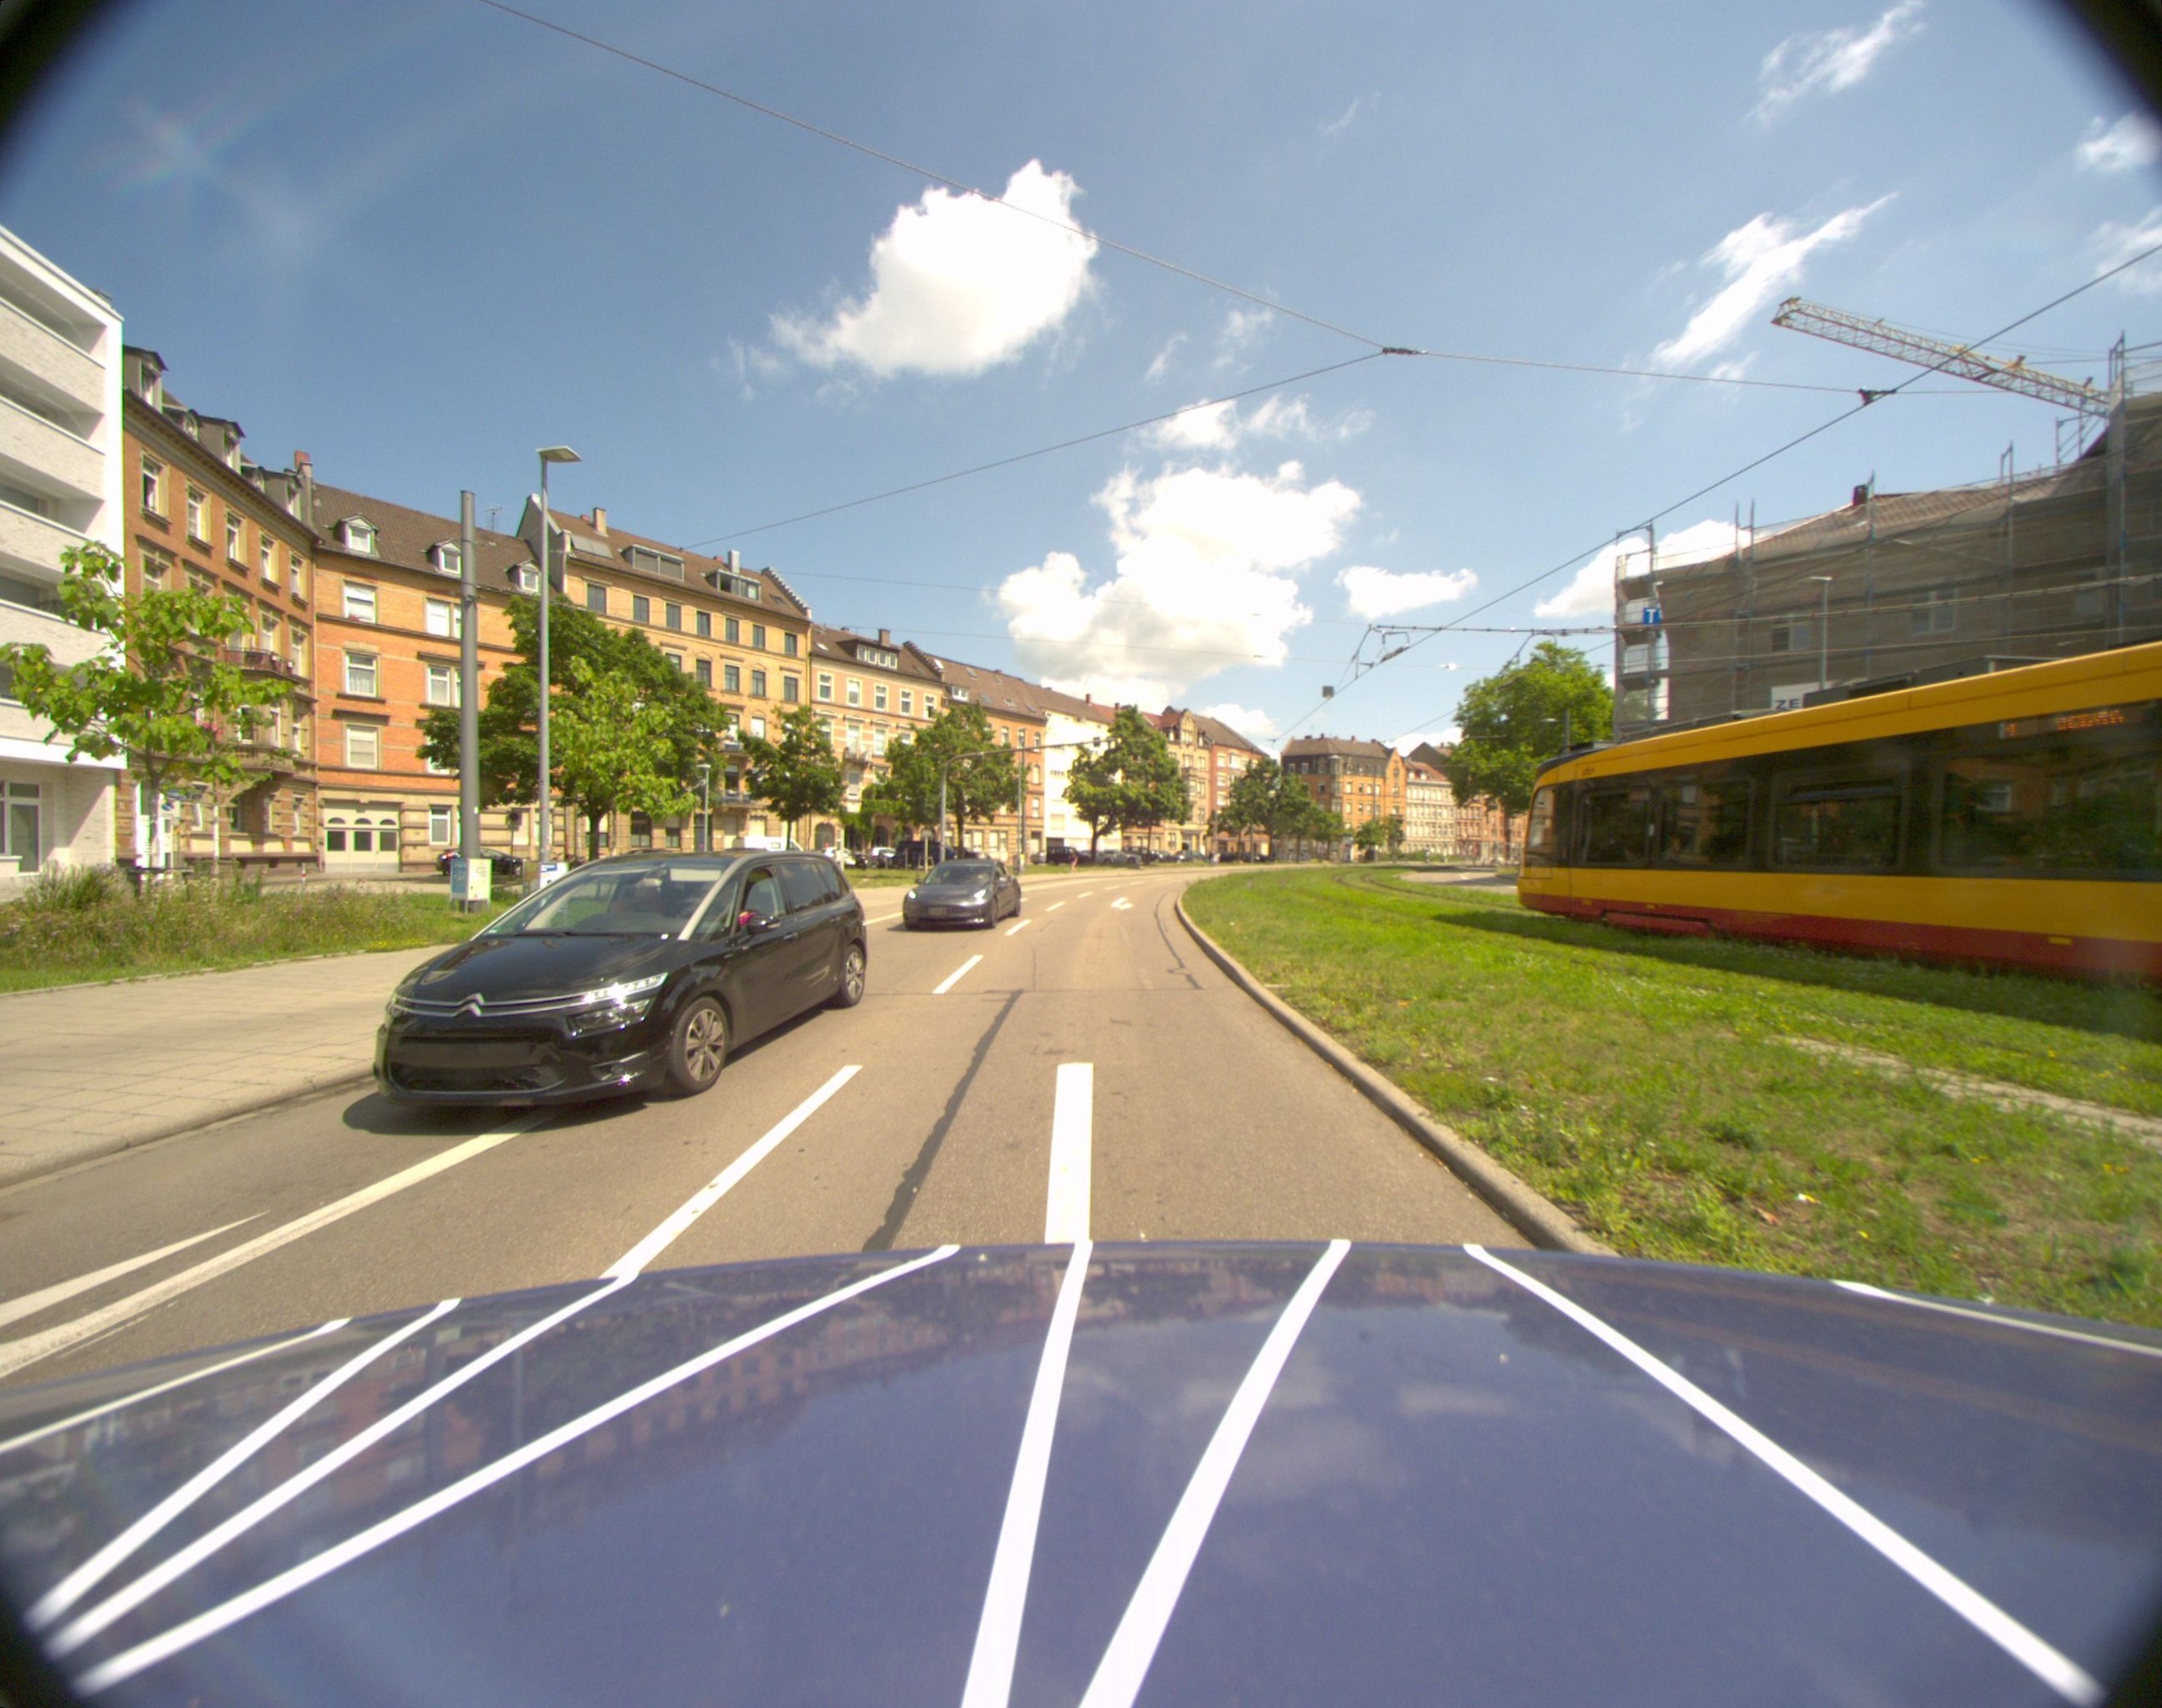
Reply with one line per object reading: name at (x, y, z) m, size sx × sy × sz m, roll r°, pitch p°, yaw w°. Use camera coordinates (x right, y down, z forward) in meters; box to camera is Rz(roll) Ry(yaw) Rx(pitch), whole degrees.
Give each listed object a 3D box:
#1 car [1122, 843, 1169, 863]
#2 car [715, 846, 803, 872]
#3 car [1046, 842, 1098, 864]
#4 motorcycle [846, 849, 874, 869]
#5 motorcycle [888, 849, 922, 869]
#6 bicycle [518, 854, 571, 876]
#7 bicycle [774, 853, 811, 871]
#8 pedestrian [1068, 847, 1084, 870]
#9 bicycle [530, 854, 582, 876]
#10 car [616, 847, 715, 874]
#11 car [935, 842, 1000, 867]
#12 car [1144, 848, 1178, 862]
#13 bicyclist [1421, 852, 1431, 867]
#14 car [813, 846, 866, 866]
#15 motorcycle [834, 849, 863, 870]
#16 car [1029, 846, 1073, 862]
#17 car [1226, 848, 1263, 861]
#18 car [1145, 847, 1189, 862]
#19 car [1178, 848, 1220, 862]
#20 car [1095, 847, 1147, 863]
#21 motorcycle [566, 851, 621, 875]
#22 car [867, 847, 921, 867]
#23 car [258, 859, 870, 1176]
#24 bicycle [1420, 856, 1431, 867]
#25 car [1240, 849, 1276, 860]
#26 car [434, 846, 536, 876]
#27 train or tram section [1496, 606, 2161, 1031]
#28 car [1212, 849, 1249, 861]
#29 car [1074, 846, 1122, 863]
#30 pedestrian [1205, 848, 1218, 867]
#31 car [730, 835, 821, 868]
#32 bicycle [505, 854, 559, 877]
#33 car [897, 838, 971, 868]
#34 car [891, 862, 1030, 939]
car at (6.133, -0.101, 72.322) m, size 4.361 × 1.731 × 1.853 m, roll -1°, pitch 0°, yaw 3°
car at (-17.959, 0.275, 42.451) m, size 4.252 × 1.419 × 1.807 m, roll 0°, pitch 1°, yaw 10°
car at (-0.732, -0.085, 64.787) m, size 4.144 × 1.731 × 1.853 m, roll -1°, pitch 0°, yaw 9°
motorcycle at (-12.911, 0.292, 44.449) m, size 1.783 × 1.160 × 0.641 m, roll 0°, pitch 1°, yaw 38°
motorcycle at (-10.647, 0.285, 46.014) m, size 1.910 × 1.160 × 0.638 m, roll -1°, pitch 1°, yaw -38°
bicycle at (-24.219, 0.507, 34.278) m, size 2.387 × 0.963 × 0.544 m, roll -1°, pitch 1°, yaw 16°
bicycle at (-15.309, 0.415, 40.356) m, size 0.542 × 0.896 × 1.825 m, roll -1°, pitch 0°, yaw 36°
pedestrian at (-0.330, 0.302, 51.341) m, size 0.700 × 1.583 × 0.907 m, roll 1°, pitch 1°, yaw 39°
bicycle at (-24.054, 0.504, 34.827) m, size 2.387 × 0.963 × 0.544 m, roll -1°, pitch 1°, yaw 16°
car at (-20.695, 0.304, 37.899) m, size 4.156 × 1.237 × 1.865 m, roll -1°, pitch 0°, yaw 15°
car at (-8.168, 0.040, 54.596) m, size 4.167 × 1.646 × 1.918 m, roll -1°, pitch 0°, yaw 13°
car at (9.567, 0.085, 90.362) m, size 1.833 × 1.606 × 4.505 m, roll -1°, pitch 0°, yaw 40°
bicyclist at (44.034, 0.675, 97.015) m, size 0.694 × 1.815 × 0.958 m, roll 8°, pitch 5°, yaw 43°
car at (-17.835, 0.136, 56.149) m, size 1.564 × 1.395 × 3.357 m, roll 1°, pitch 1°, yaw 42°
motorcycle at (-13.414, 0.306, 43.823) m, size 1.783 × 1.160 × 0.641 m, roll 0°, pitch 1°, yaw 38°
car at (-2.913, -0.033, 74.594) m, size 1.833 × 1.483 × 4.235 m, roll -1°, pitch 0°, yaw 40°
car at (19.028, 0.070, 88.391) m, size 3.995 × 1.372 × 1.962 m, roll -1°, pitch 0°, yaw 7°
car at (8.489, 0.060, 75.434) m, size 4.265 × 1.372 × 1.853 m, roll -1°, pitch 0°, yaw 3°
car at (12.483, 0.087, 80.430) m, size 4.265 × 1.372 × 1.853 m, roll -1°, pitch 0°, yaw 3°
car at (3.676, 0.104, 69.346) m, size 4.688 × 1.372 × 1.853 m, roll -1°, pitch 0°, yaw 5°
motorcycle at (-23.322, 0.417, 36.381) m, size 2.387 × 1.119 × 0.813 m, roll -1°, pitch 0°, yaw 16°
car at (-14.666, 0.220, 59.860) m, size 1.659 × 1.483 × 3.861 m, roll -1°, pitch 0°, yaw 40°
car at (-3.345, 0.890, 6.129) m, size 1.875 × 1.610 × 4.190 m, roll -1°, pitch 0°, yaw 3°
bicycle at (44.012, 0.964, 97.031) m, size 0.693 × 1.236 × 1.843 m, roll 8°, pitch 5°, yaw 43°
car at (21.214, 0.057, 90.981) m, size 3.992 × 1.346 × 1.964 m, roll -1°, pitch 0°, yaw 17°
car at (-30.922, 0.337, 39.511) m, size 1.659 × 1.483 × 3.861 m, roll -1°, pitch 0°, yaw 40°
train or tram section at (10.566, -0.299, 9.080) m, size 3.225 × 3.578 × 13.495 m, roll 1°, pitch 0°, yaw -3°
car at (16.924, 0.107, 85.966) m, size 3.993 × 1.372 × 1.963 m, roll -1°, pitch 0°, yaw 12°
car at (1.530, 0.080, 66.974) m, size 4.081 × 1.397 × 1.853 m, roll -1°, pitch 0°, yaw 4°
pedestrian at (12.033, 0.289, 69.881) m, size 0.700 × 1.695 × 1.046 m, roll 0°, pitch 4°, yaw 38°
car at (-20.847, -0.165, 52.072) m, size 2.111 × 2.166 × 5.405 m, roll -1°, pitch 0°, yaw 40°
bicycle at (-24.373, 0.511, 33.711) m, size 2.387 × 0.963 × 0.544 m, roll -1°, pitch 1°, yaw 16°
car at (-10.078, -0.057, 52.211) m, size 4.623 × 1.916 × 1.918 m, roll -1°, pitch 0°, yaw 9°
car at (-2.473, 0.916, 16.752) m, size 1.913 × 1.386 × 4.315 m, roll -1°, pitch 0°, yaw 6°
